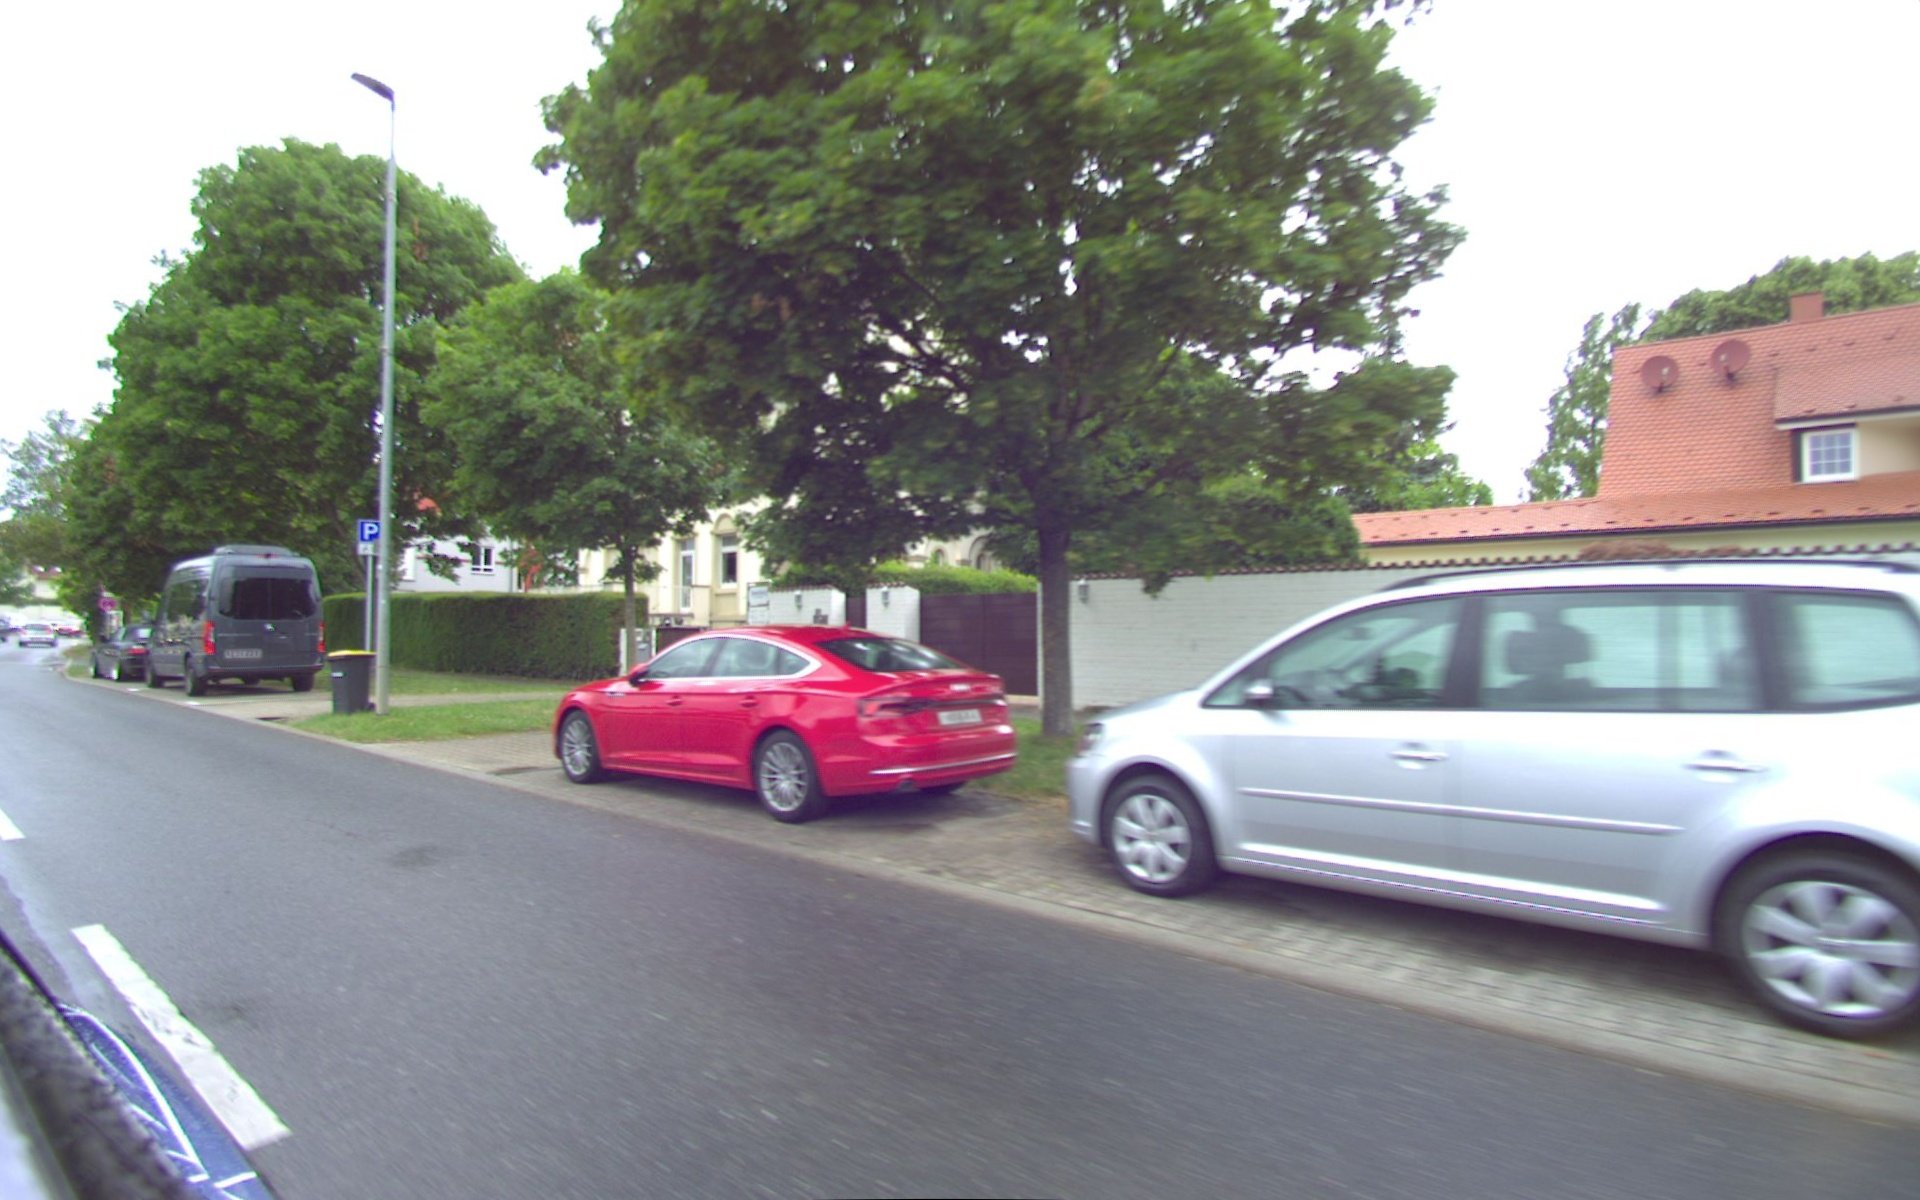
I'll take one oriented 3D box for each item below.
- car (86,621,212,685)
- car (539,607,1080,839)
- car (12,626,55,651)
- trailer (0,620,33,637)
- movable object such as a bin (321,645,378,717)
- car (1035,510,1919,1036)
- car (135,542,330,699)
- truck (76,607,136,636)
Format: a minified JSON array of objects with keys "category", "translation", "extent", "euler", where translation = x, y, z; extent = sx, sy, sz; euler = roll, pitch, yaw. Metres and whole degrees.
[{"category":"car","translation":[-19.783,1.254,24.649],"extent":[3.823,1.419,1.705],"euler":[-1,-3,41]},{"category":"car","translation":[-1.447,0.811,8.424],"extent":[4.554,1.414,1.973],"euler":[-2,-2,41]},{"category":"car","translation":[-55.691,2.296,60.865],"extent":[1.573,1.475,3.459],"euler":[1,-2,-38]},{"category":"trailer","translation":[-86.629,2.606,92.750],"extent":[4.425,1.555,1.972],"euler":[-1,-2,42]},{"category":"movable object such as a bin","translation":[-8.531,1.121,14.144],"extent":[0.550,0.960,0.551],"euler":[-2,-3,45]},{"category":"car","translation":[2.553,0.582,4.746],"extent":[4.231,1.640,1.738],"euler":[-2,-2,42]},{"category":"car","translation":[-14.875,0.427,20.530],"extent":[5.935,2.749,1.972],"euler":[-2,-1,42]},{"category":"truck","translation":[-68.545,1.802,81.386],"extent":[2.186,2.220,6.484],"euler":[1,-2,-27]}]
